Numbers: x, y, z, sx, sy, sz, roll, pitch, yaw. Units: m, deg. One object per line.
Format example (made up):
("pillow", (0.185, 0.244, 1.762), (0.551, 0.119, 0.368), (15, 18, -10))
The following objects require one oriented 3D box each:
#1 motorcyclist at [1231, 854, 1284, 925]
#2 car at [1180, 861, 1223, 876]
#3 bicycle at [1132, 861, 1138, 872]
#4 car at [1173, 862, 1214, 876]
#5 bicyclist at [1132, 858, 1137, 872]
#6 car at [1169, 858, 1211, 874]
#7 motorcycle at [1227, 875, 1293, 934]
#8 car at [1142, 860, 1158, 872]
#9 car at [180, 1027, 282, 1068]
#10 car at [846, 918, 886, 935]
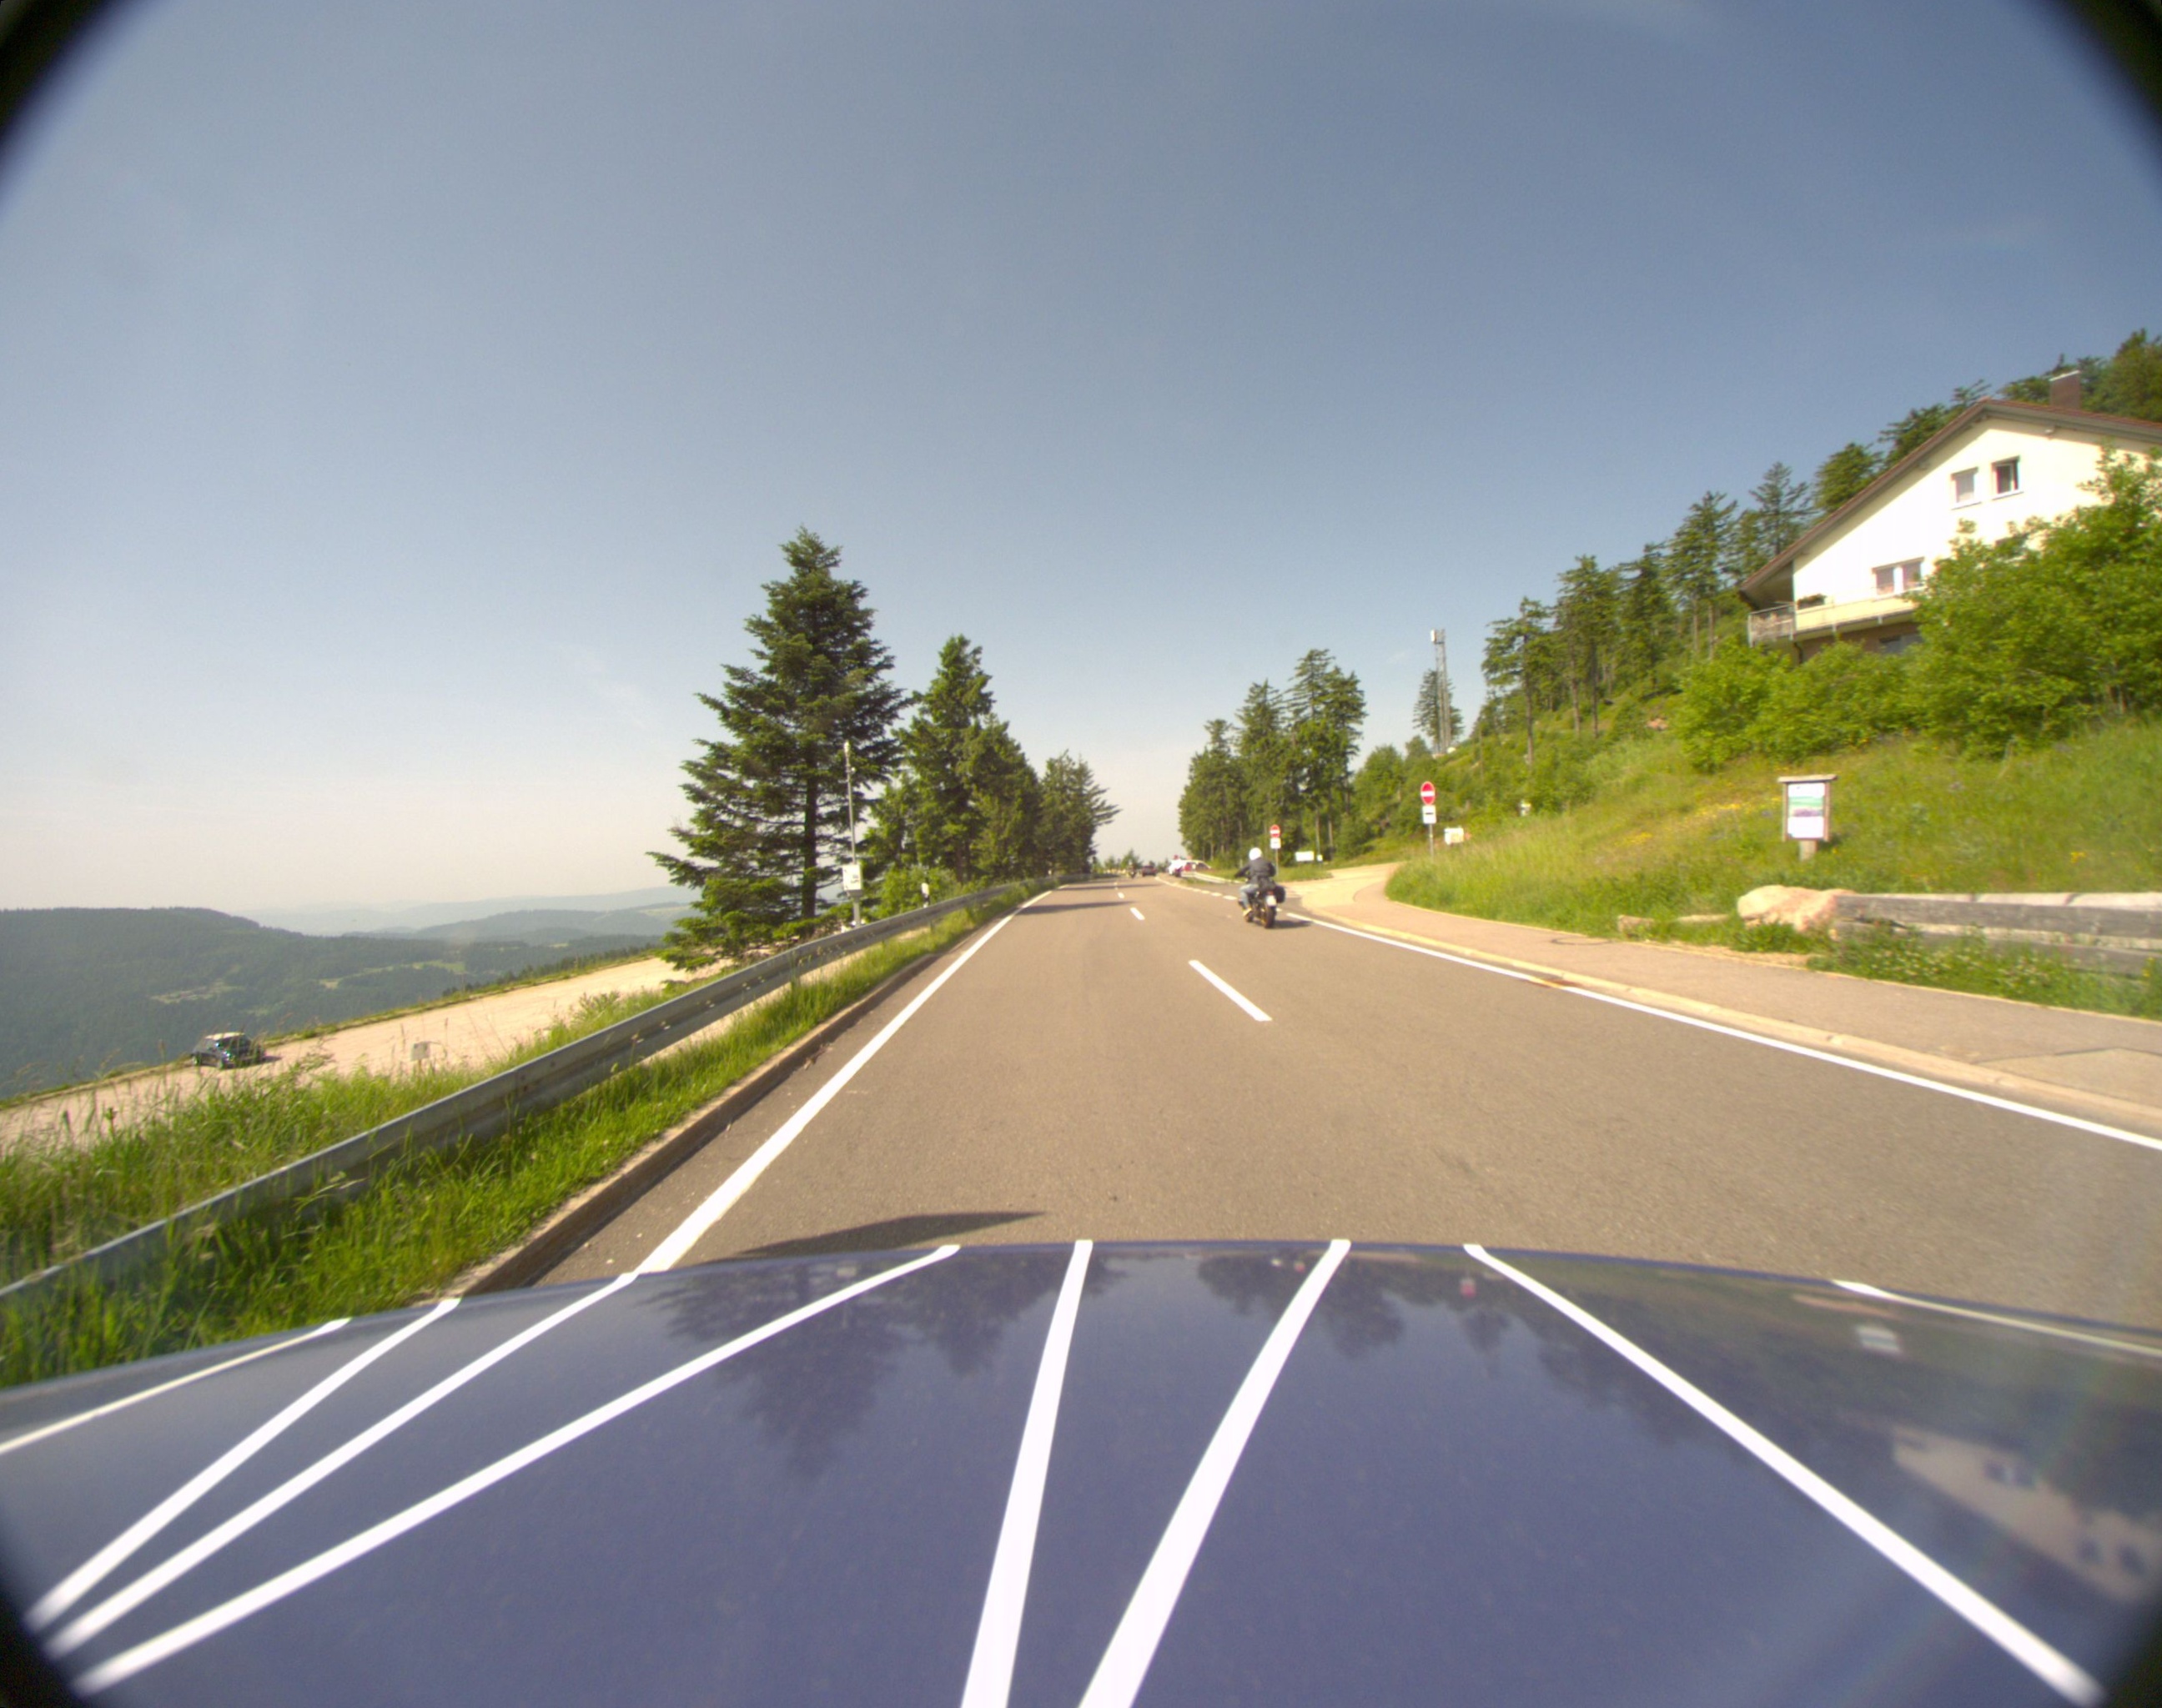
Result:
("motorcyclist", (3.665, 0.721, 15.863), (0.841, 1.432, 1.005), (-1, 0, 0))
("car", (12.081, 1.450, 76.345), (4.158, 1.501, 1.933), (-1, 0, 5))
("bicycle", (5.918, 1.355, 83.633), (0.546, 1.220, 1.859), (-2, 0, 6))
("car", (11.670, 1.518, 79.001), (3.928, 1.365, 1.932), (-1, 0, 0))
("bicyclist", (5.895, 1.208, 83.753), (0.546, 1.519, 0.680), (-2, 0, 6))
("car", (12.977, 1.391, 90.327), (4.729, 1.871, 1.932), (-1, 0, 0))
("motorcycle", (3.697, 1.014, 15.889), (0.841, 1.089, 2.183), (-1, 0, 0))
("car", (9.646, 1.715, 106.370), (1.997, 1.586, 4.003), (-2, 0, 9))
("car", (-43.843, 9.983, 39.241), (3.519, 1.655, 1.803), (-3, 0, 8))
("car", (-23.748, 8.036, 84.066), (3.771, 1.587, 1.845), (-3, 2, 16))
